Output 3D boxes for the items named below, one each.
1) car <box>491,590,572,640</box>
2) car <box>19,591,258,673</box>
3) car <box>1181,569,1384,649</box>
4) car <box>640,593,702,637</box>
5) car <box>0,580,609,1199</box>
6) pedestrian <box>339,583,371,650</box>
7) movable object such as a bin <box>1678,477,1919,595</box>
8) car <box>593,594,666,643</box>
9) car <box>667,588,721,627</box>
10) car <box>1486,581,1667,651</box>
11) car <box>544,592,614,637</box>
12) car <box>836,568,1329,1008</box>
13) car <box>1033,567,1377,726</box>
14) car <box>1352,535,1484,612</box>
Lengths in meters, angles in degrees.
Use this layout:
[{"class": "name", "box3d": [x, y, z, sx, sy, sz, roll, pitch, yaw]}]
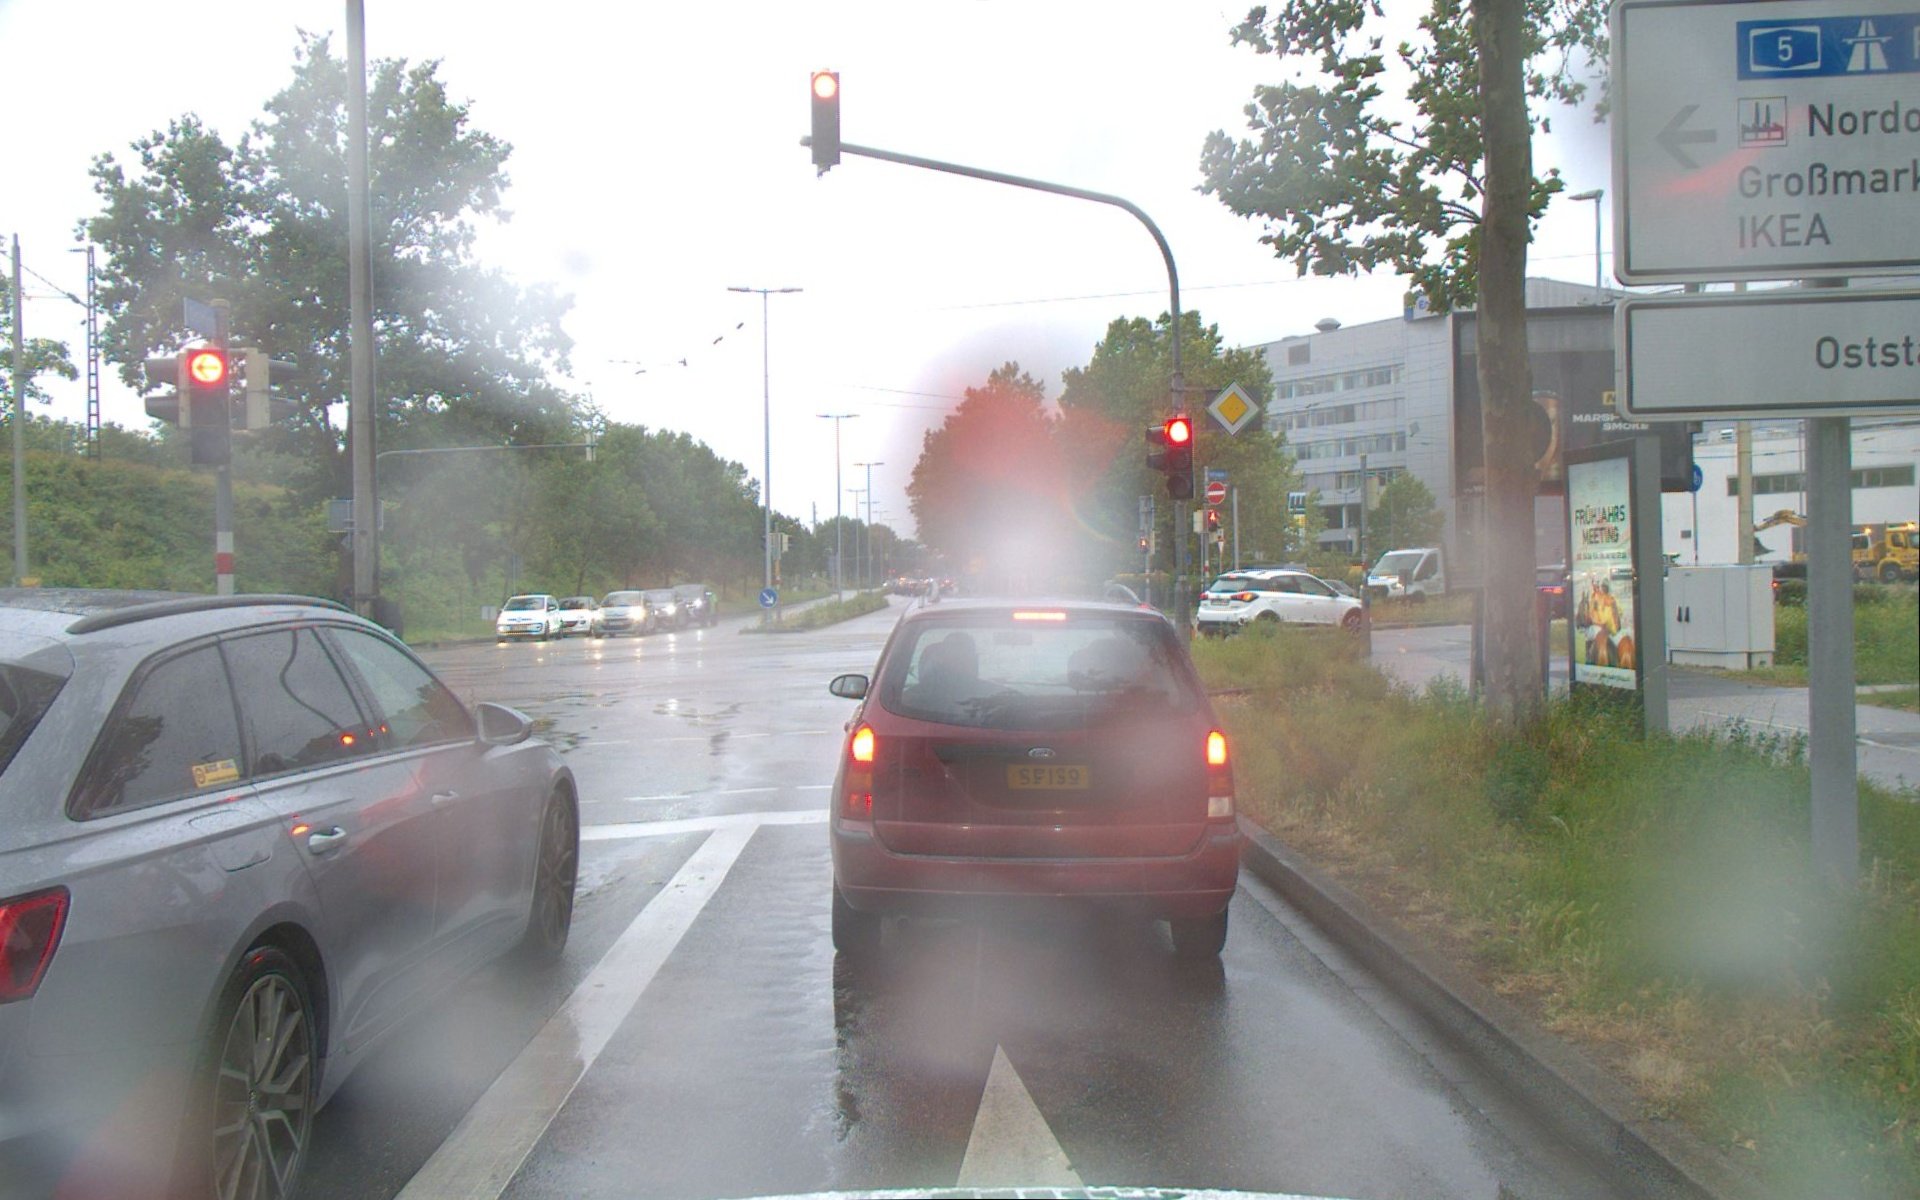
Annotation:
[{"class": "car", "box3d": [-14.135, 0.473, 54.736, 1.678, 1.556, 3.999, -1, 0, -1]}, {"class": "car", "box3d": [-16.147, 0.593, 32.586, 3.961, 1.454, 1.694, -2, 0, -39]}, {"class": "car", "box3d": [6.835, 0.169, 34.961, 4.015, 1.547, 1.976, -1, 0, -34]}, {"class": "car", "box3d": [-10.922, 0.540, 62.766, 1.678, 1.556, 3.999, -1, 0, -1]}, {"class": "car", "box3d": [-2.299, 0.694, 4.778, 1.656, 1.458, 4.573, 0, 0, -1]}, {"class": "pedestrian", "box3d": [-16.636, 0.451, 45.490, 0.522, 1.817, 0.673, 0, -1, 16]}, {"class": "movable object such as a bin", "box3d": [52.765, -3.602, 100.631, 8.168, 6.393, 14.792, 1, 0, -34]}, {"class": "car", "box3d": [-11.144, 0.585, 56.002, 1.678, 1.556, 3.999, -1, 0, -1]}, {"class": "car", "box3d": [-11.267, 0.298, 70.375, 1.678, 1.556, 3.999, -1, 0, -1]}, {"class": "car", "box3d": [14.946, 0.358, 40.028, 4.327, 1.564, 1.784, -1, 0, -30]}, {"class": "car", "box3d": [-14.064, 0.510, 61.275, 1.678, 1.556, 3.999, -1, 0, -1]}, {"class": "car", "box3d": [0.413, 0.670, 8.143, 1.760, 1.564, 4.386, 1, 0, -1]}, {"class": "car", "box3d": [3.084, 0.474, 20.262, 4.349, 1.563, 1.775, -4, 3, -41]}, {"class": "car", "box3d": [14.955, -0.876, 53.969, 4.339, 2.228, 1.779, -4, 2, -36]}]
